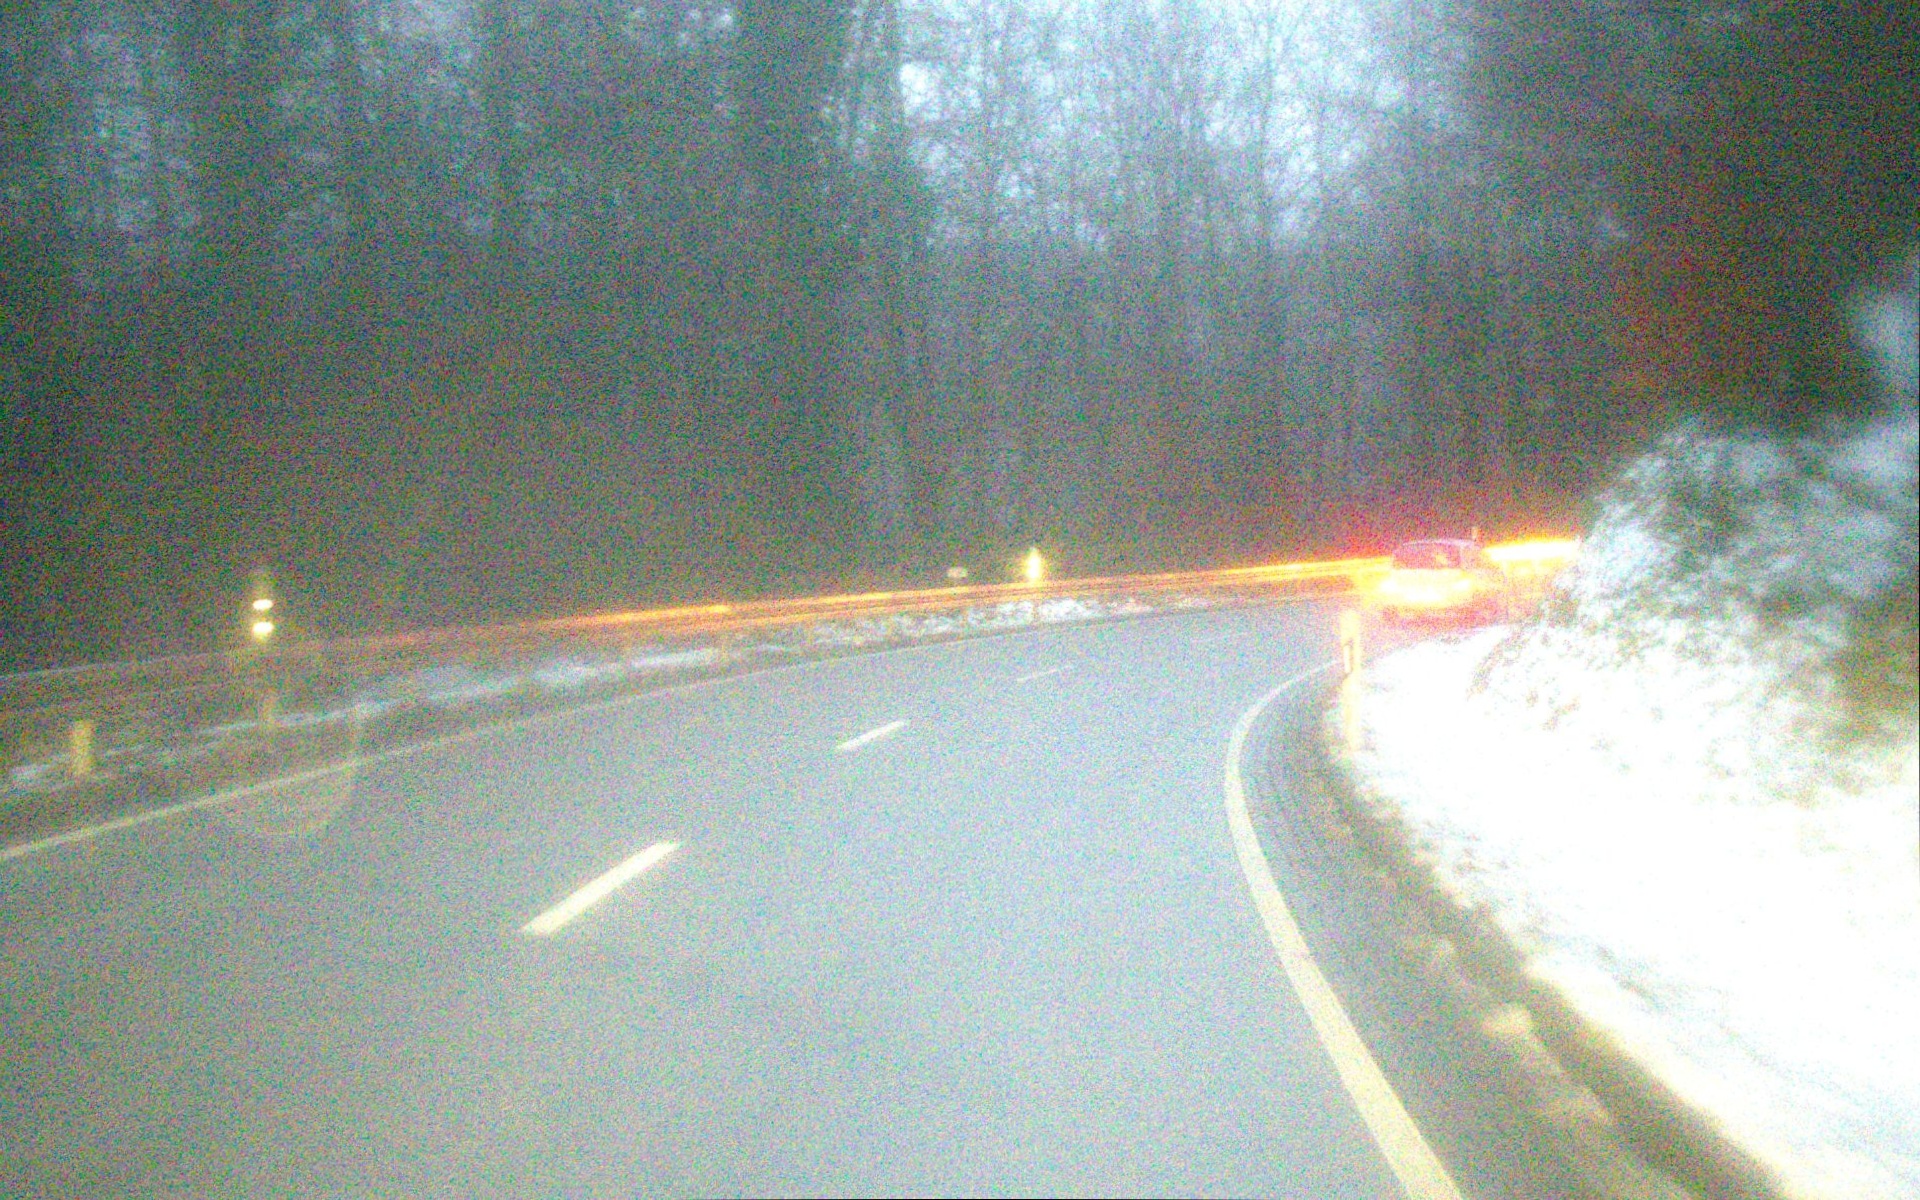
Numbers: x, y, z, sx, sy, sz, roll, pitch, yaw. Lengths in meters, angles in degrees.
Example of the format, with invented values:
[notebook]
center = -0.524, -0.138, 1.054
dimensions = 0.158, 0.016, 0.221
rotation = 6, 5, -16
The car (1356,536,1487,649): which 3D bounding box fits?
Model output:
[car]
center = 7.952, -0.150, 58.963
dimensions = 1.994, 1.866, 3.998
rotation = -1, 1, 11
